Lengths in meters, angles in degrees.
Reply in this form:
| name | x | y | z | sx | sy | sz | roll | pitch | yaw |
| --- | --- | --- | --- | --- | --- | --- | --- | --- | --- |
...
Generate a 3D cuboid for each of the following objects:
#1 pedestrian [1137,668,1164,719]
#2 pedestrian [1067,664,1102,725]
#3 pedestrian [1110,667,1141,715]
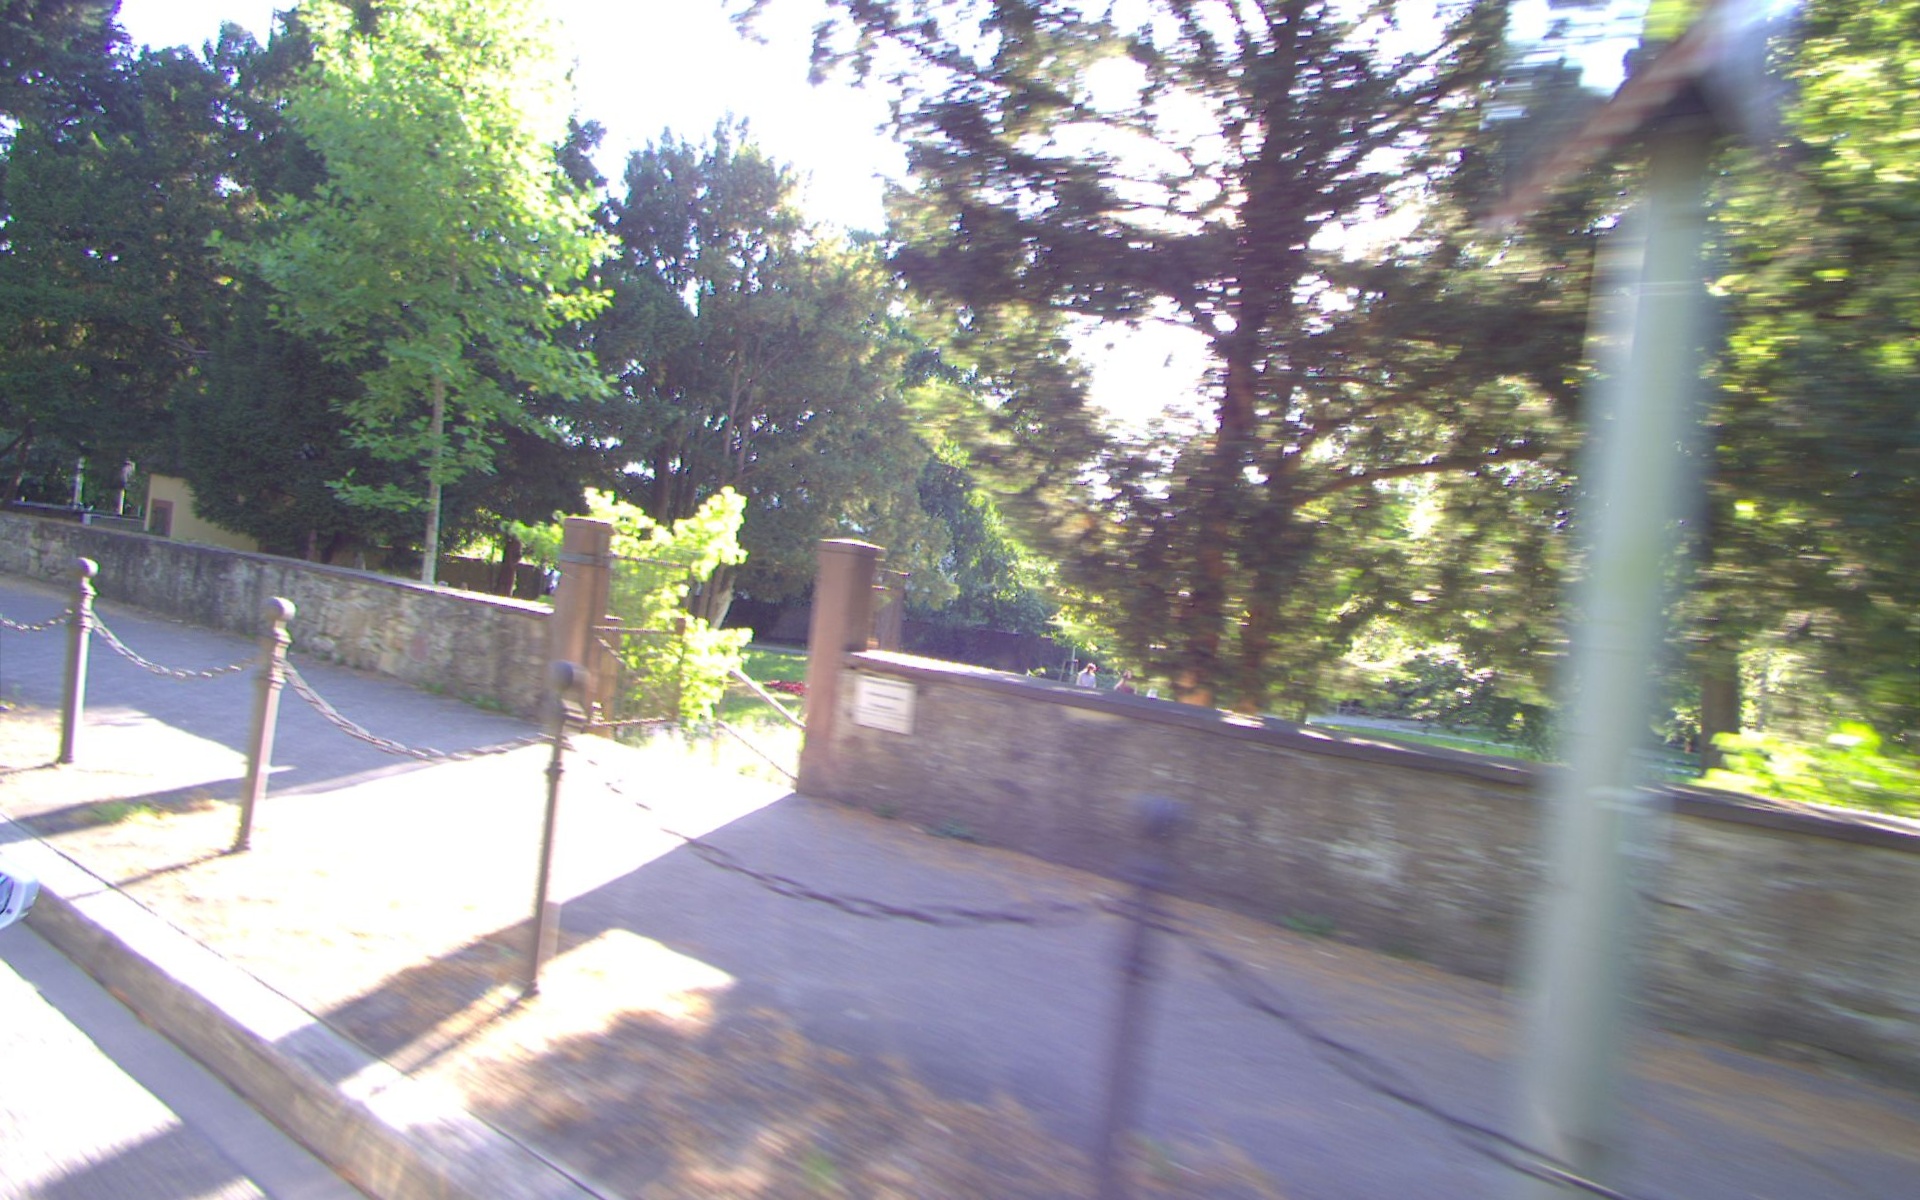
| name | x | y | z | sx | sy | sz | roll | pitch | yaw |
| --- | --- | --- | --- | --- | --- | --- | --- | --- | --- |
| pedestrian | 6.877 | 3.388 | 36.345 | 0.588 | 1.749 | 0.591 | 7 | -2 | 32 |
| pedestrian | 3.630 | 2.753 | 29.338 | 0.626 | 1.659 | 0.615 | 7 | -2 | 33 |
| pedestrian | 6.040 | 3.329 | 36.706 | 0.749 | 1.636 | 0.565 | 7 | -2 | 36 |
